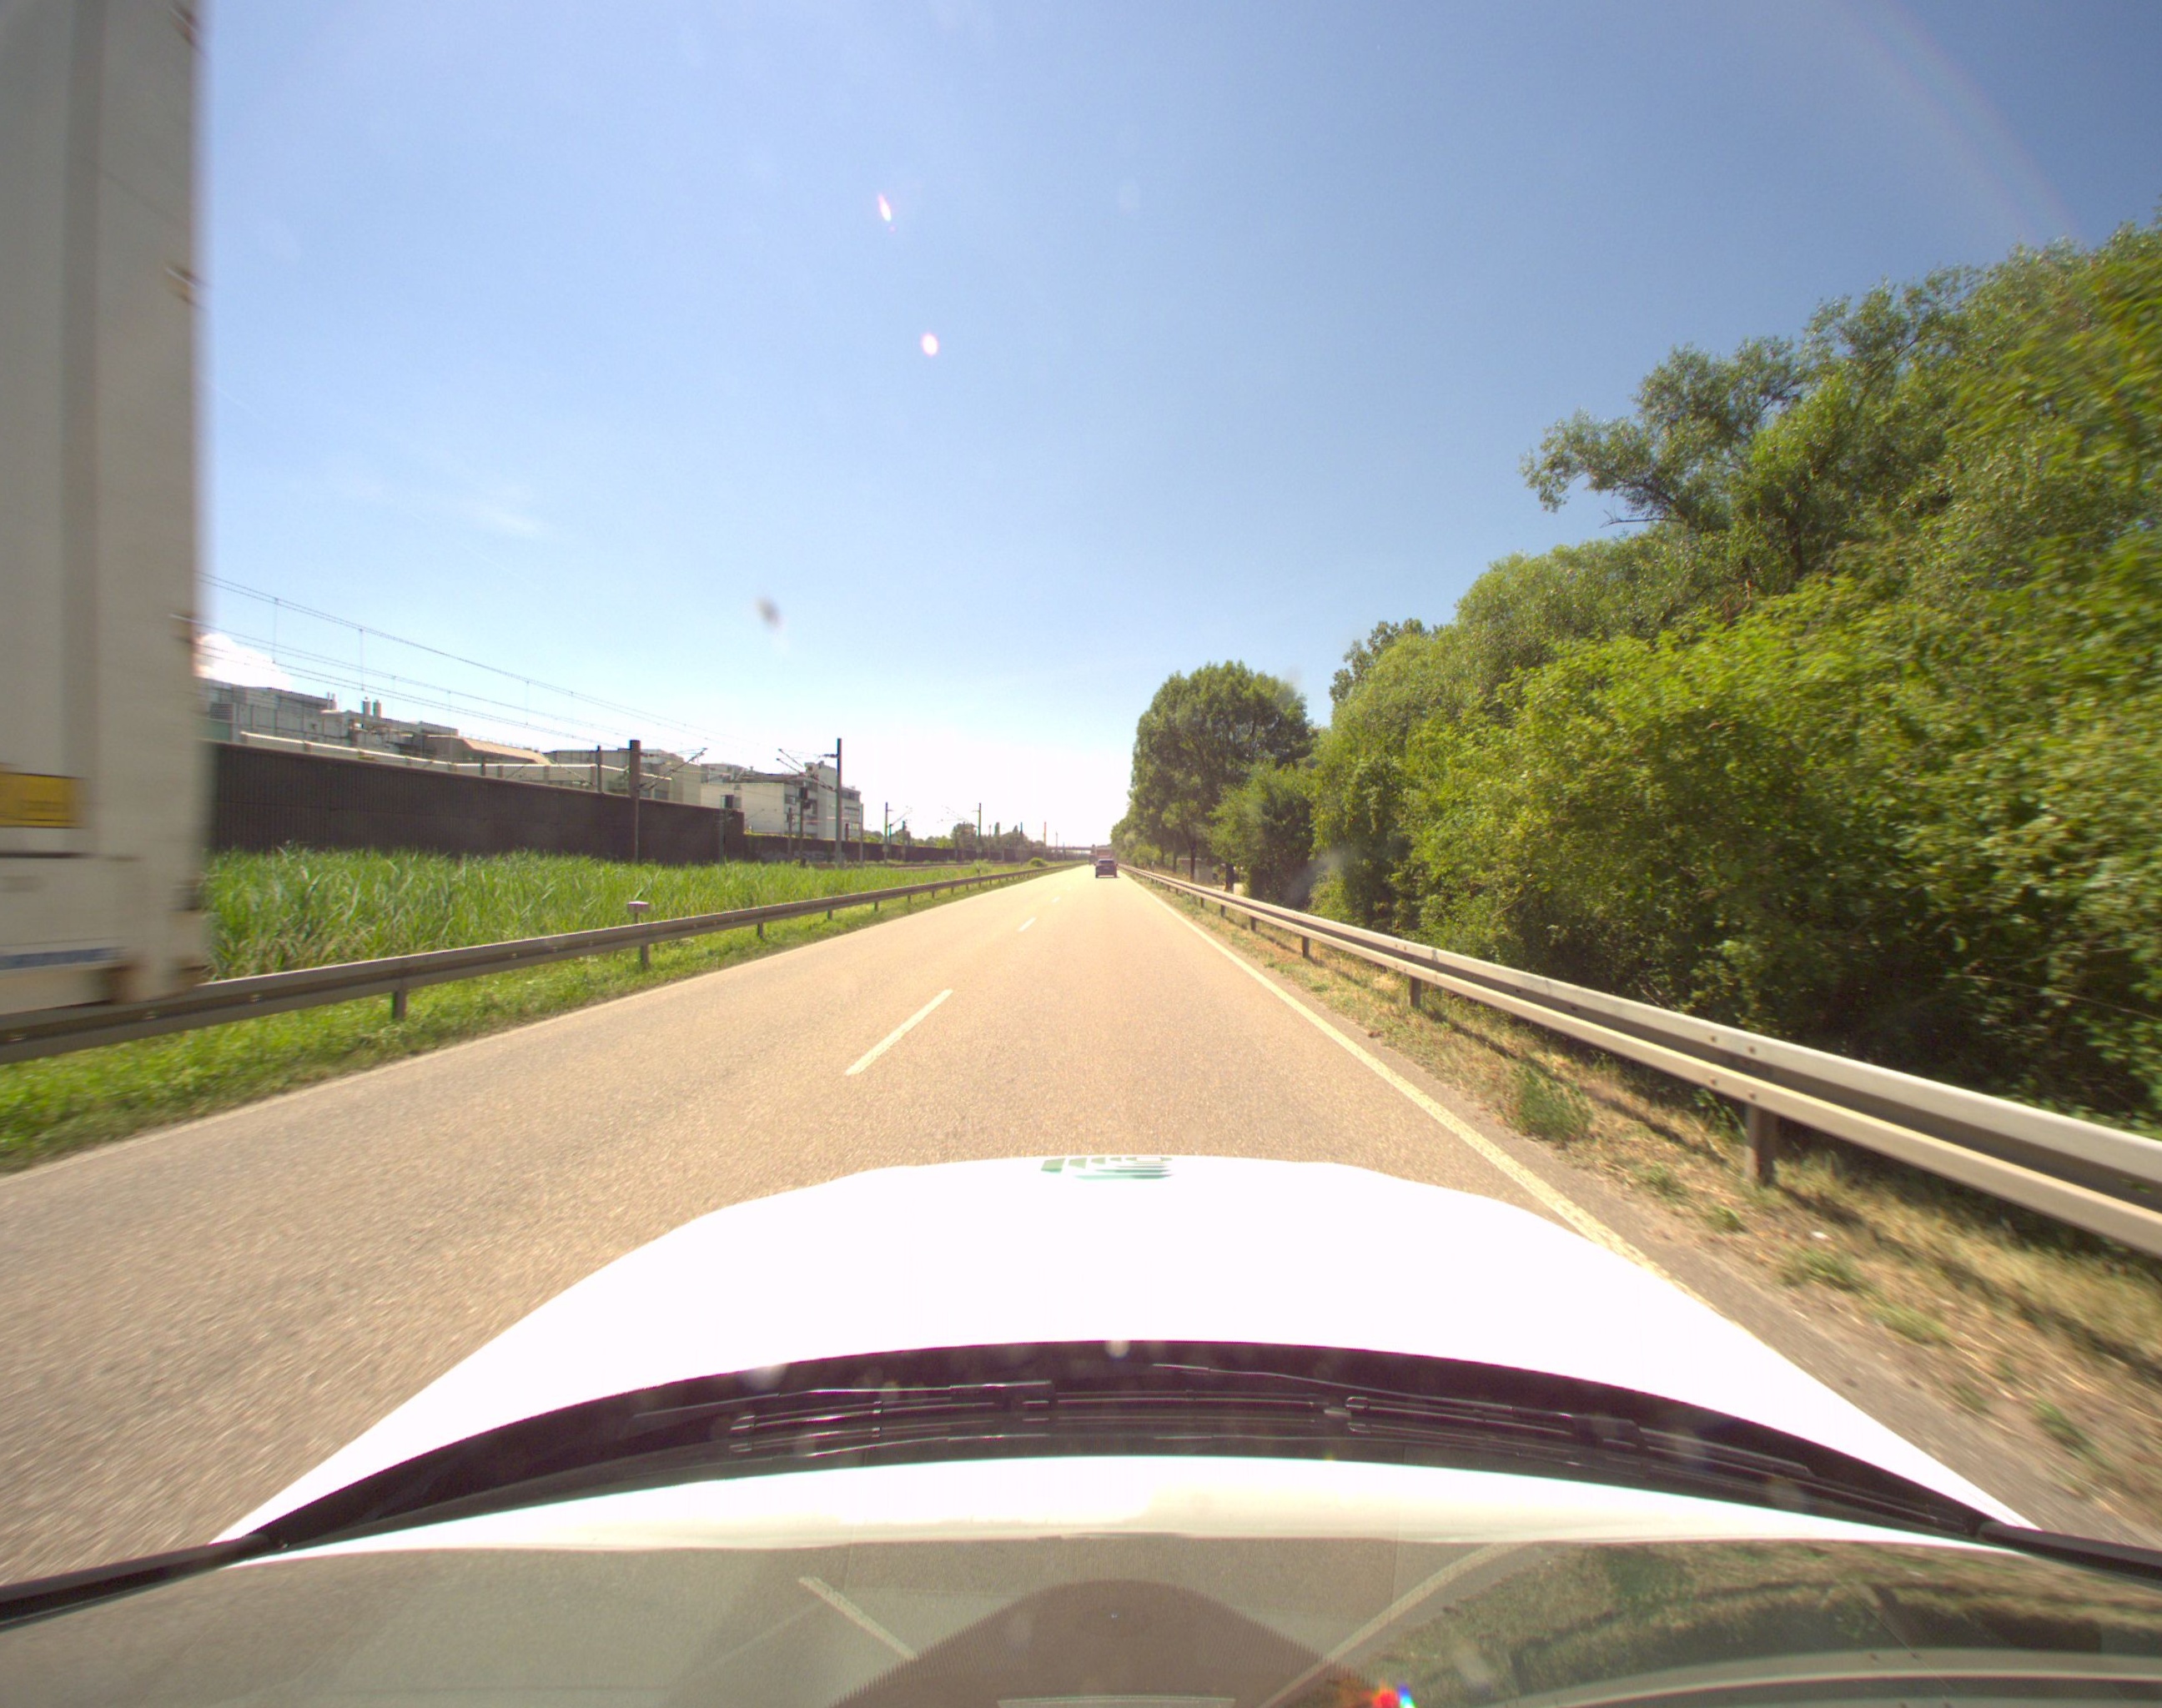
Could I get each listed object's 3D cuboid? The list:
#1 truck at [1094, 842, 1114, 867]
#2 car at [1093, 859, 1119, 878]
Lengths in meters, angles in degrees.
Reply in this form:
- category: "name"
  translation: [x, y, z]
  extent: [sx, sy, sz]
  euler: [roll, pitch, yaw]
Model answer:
- category: "truck"
  translation: [3.335, 0.152, 119.446]
  extent: [2.760, 3.425, 10.822]
  euler: [-1, -1, 2]
- category: "car"
  translation: [2.053, 1.165, 68.048]
  extent: [1.987, 1.508, 3.999]
  euler: [-1, 0, -1]
